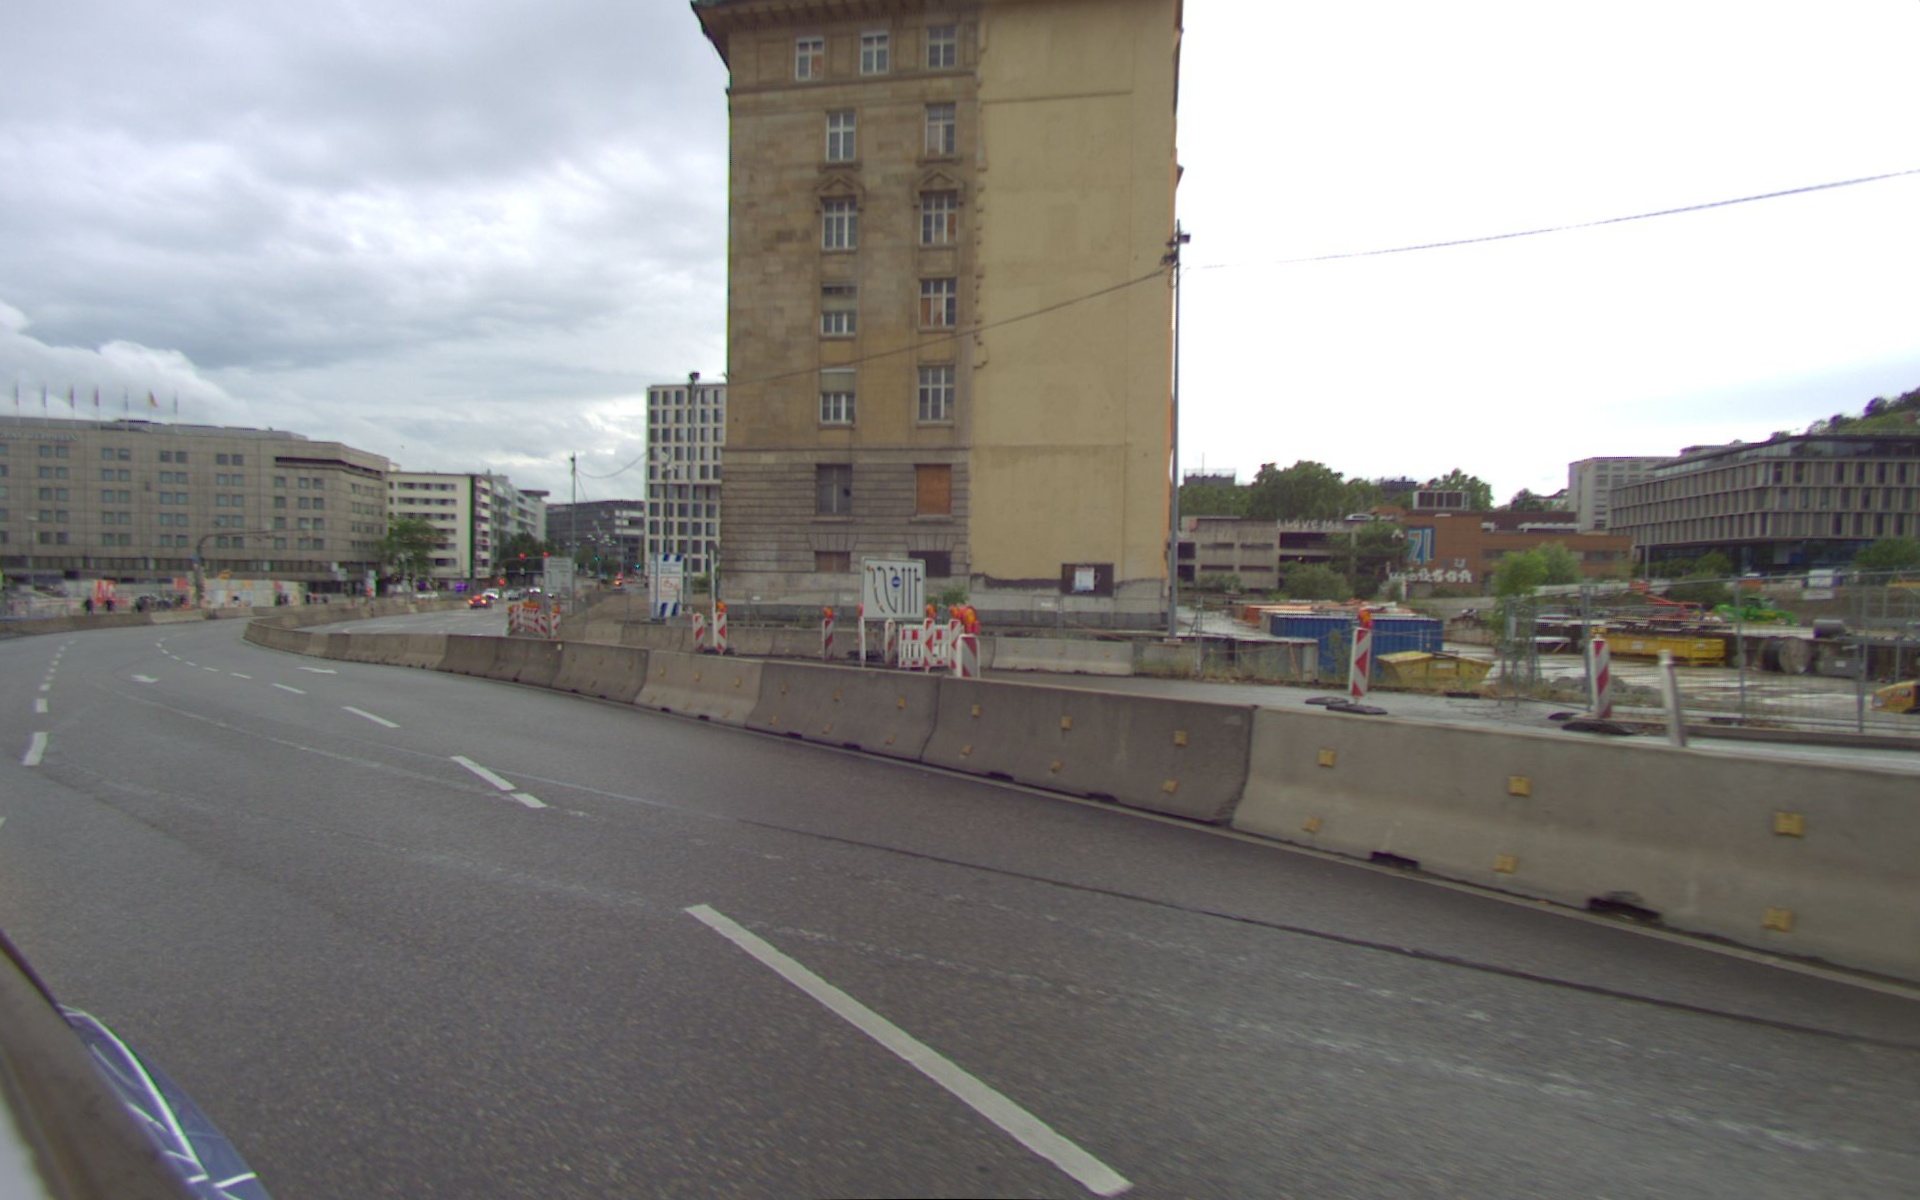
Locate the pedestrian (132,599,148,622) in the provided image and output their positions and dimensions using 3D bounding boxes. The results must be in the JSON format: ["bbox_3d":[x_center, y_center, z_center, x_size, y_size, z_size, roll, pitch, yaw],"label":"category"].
[{"bbox_3d":[-62.922,0.802,77.664,0.644,1.703,0.778,2,0,-18],"label":"pedestrian"}]

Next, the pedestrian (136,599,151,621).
[{"bbox_3d":[-64.573,0.779,80.018,0.644,1.703,0.778,2,0,-18],"label":"pedestrian"}]

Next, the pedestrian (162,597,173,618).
[{"bbox_3d":[-65.986,0.636,84.305,0.576,1.721,0.679,2,0,-30],"label":"pedestrian"}]

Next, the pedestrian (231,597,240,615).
[{"bbox_3d":[-70.231,0.577,98.111,0.638,1.682,0.768,2,0,-30],"label":"pedestrian"}]

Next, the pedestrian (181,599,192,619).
[{"bbox_3d":[-66.701,0.776,87.239,0.638,1.774,0.585,2,0,-30],"label":"pedestrian"}]

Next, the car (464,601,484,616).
[{"bbox_3d":[-55.202,0.957,114.966,1.741,1.532,4.401,0,1,-22],"label":"car"}]

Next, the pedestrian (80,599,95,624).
[{"bbox_3d":[-63.084,0.832,73.178,0.638,1.756,0.768,2,0,-28],"label":"pedestrian"}]

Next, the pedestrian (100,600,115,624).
[{"bbox_3d":[-62.127,0.868,73.770,0.638,1.658,0.950,2,0,-28],"label":"pedestrian"}]

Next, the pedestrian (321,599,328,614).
[{"bbox_3d":[-76.950,0.808,122.567,0.643,1.774,0.550,2,0,-30],"label":"pedestrian"}]

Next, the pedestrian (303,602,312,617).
[{"bbox_3d":[-74.509,1.090,115.509,0.744,1.774,0.768,2,0,-30],"label":"pedestrian"}]

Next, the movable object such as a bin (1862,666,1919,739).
[{"bbox_3d":[25.223,2.631,24.709,1.707,1.689,4.460,0,1,-32],"label":"movable object such as a bin"}]

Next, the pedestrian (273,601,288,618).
[{"bbox_3d":[-75.328,1.033,112.242,1.081,1.774,0.909,2,0,-14],"label":"pedestrian"}]

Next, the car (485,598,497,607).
[{"bbox_3d":[-85.205,0.427,183.977,1.680,1.464,3.808,0,1,-20],"label":"car"}]
